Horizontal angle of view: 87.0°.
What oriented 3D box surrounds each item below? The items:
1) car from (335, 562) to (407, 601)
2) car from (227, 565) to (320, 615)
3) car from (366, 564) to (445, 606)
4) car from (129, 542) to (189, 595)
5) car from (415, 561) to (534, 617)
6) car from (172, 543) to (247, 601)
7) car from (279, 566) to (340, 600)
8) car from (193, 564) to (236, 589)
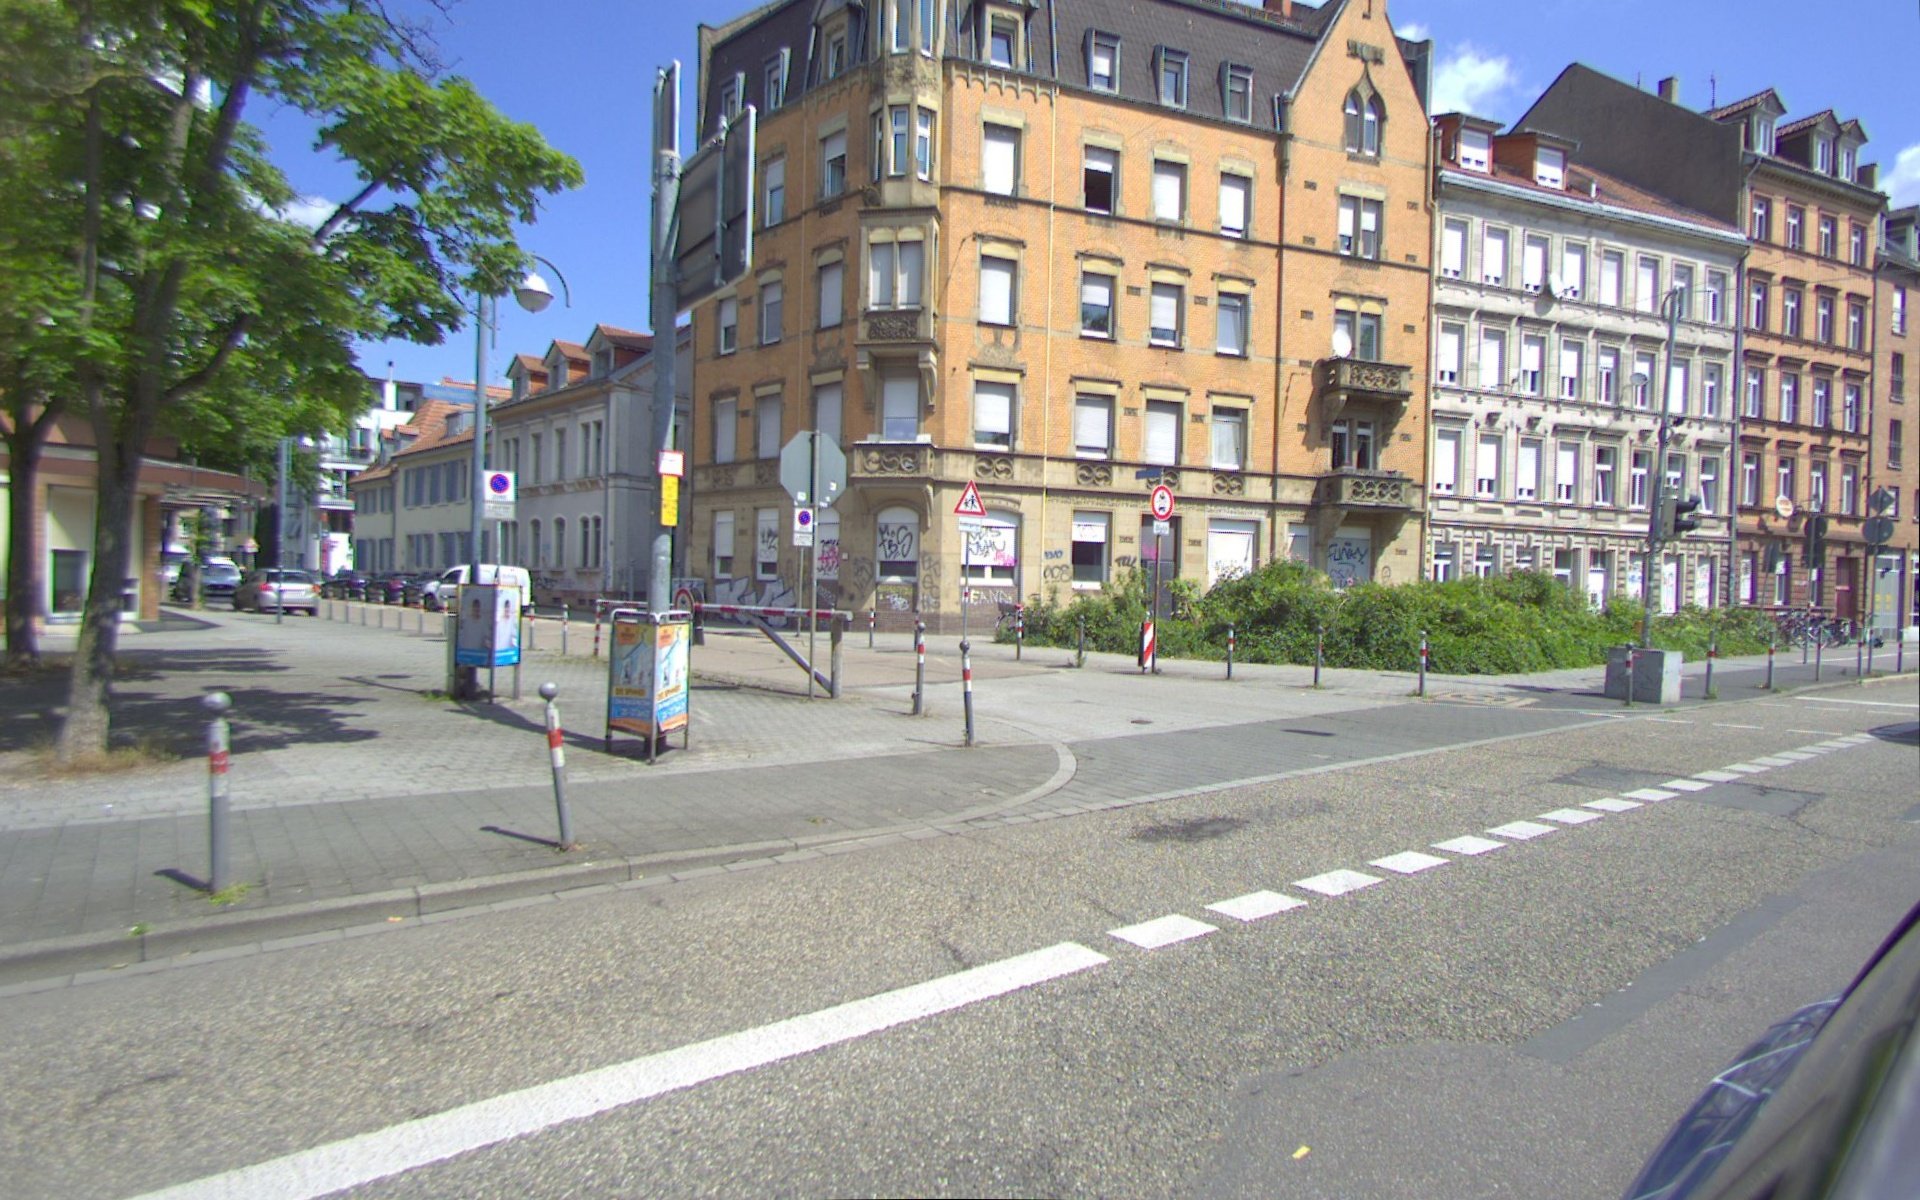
[{"bbox_3d":[-27.066,-0.839,46.446,1.967,1.717,3.989,0,0,-44],"label":"car"},{"bbox_3d":[-21.947,-0.311,32.310,1.837,1.517,3.990,0,0,-44],"label":"car"},{"bbox_3d":[-23.886,-0.641,43.539,1.967,1.717,3.989,0,0,-44],"label":"car"},{"bbox_3d":[-38.402,-1.455,48.493,1.837,2.387,4.796,0,0,-44],"label":"car"},{"bbox_3d":[-17.416,-0.418,36.289,3.964,1.845,1.921,2,1,29],"label":"car"},{"bbox_3d":[-30.223,-1.076,40.692,1.837,2.213,4.796,0,0,-44],"label":"car"},{"bbox_3d":[-34.836,-0.887,54.159,1.967,1.717,3.989,0,0,-44],"label":"car"},{"bbox_3d":[-53.790,-1.674,72.983,1.967,1.717,4.222,0,0,-44],"label":"car"}]
